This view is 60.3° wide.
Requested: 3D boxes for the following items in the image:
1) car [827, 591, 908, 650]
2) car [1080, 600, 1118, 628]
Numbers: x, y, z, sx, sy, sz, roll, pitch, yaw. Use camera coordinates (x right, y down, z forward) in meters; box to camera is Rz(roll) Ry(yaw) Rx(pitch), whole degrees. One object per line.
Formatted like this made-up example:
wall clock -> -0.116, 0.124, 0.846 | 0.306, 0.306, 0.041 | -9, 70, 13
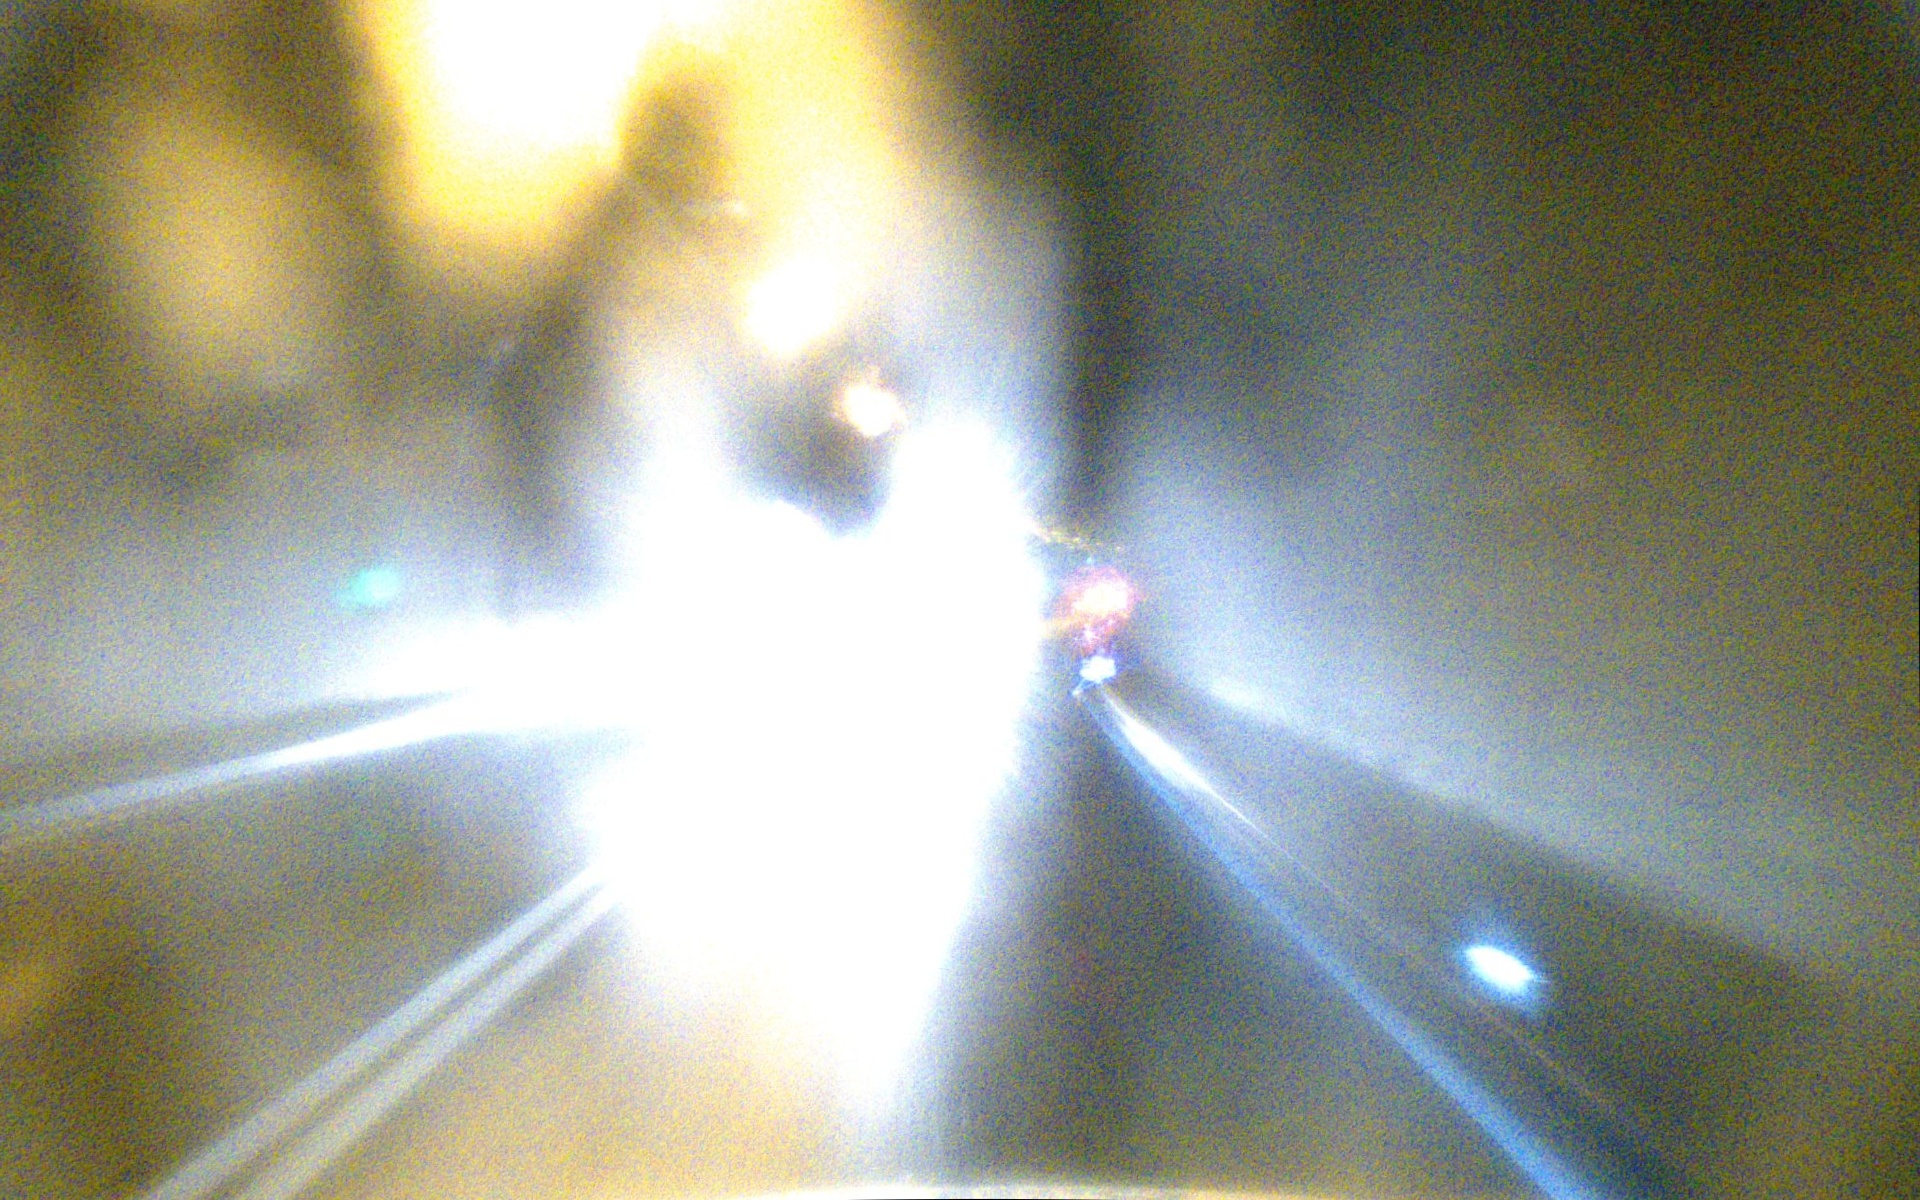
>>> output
car -> -2.398, 0.507, 43.836 | 1.677, 1.402, 4.586 | 2, 0, 2
car -> 8.594, 0.855, 102.084 | 1.951, 1.679, 4.003 | 1, 0, 10
